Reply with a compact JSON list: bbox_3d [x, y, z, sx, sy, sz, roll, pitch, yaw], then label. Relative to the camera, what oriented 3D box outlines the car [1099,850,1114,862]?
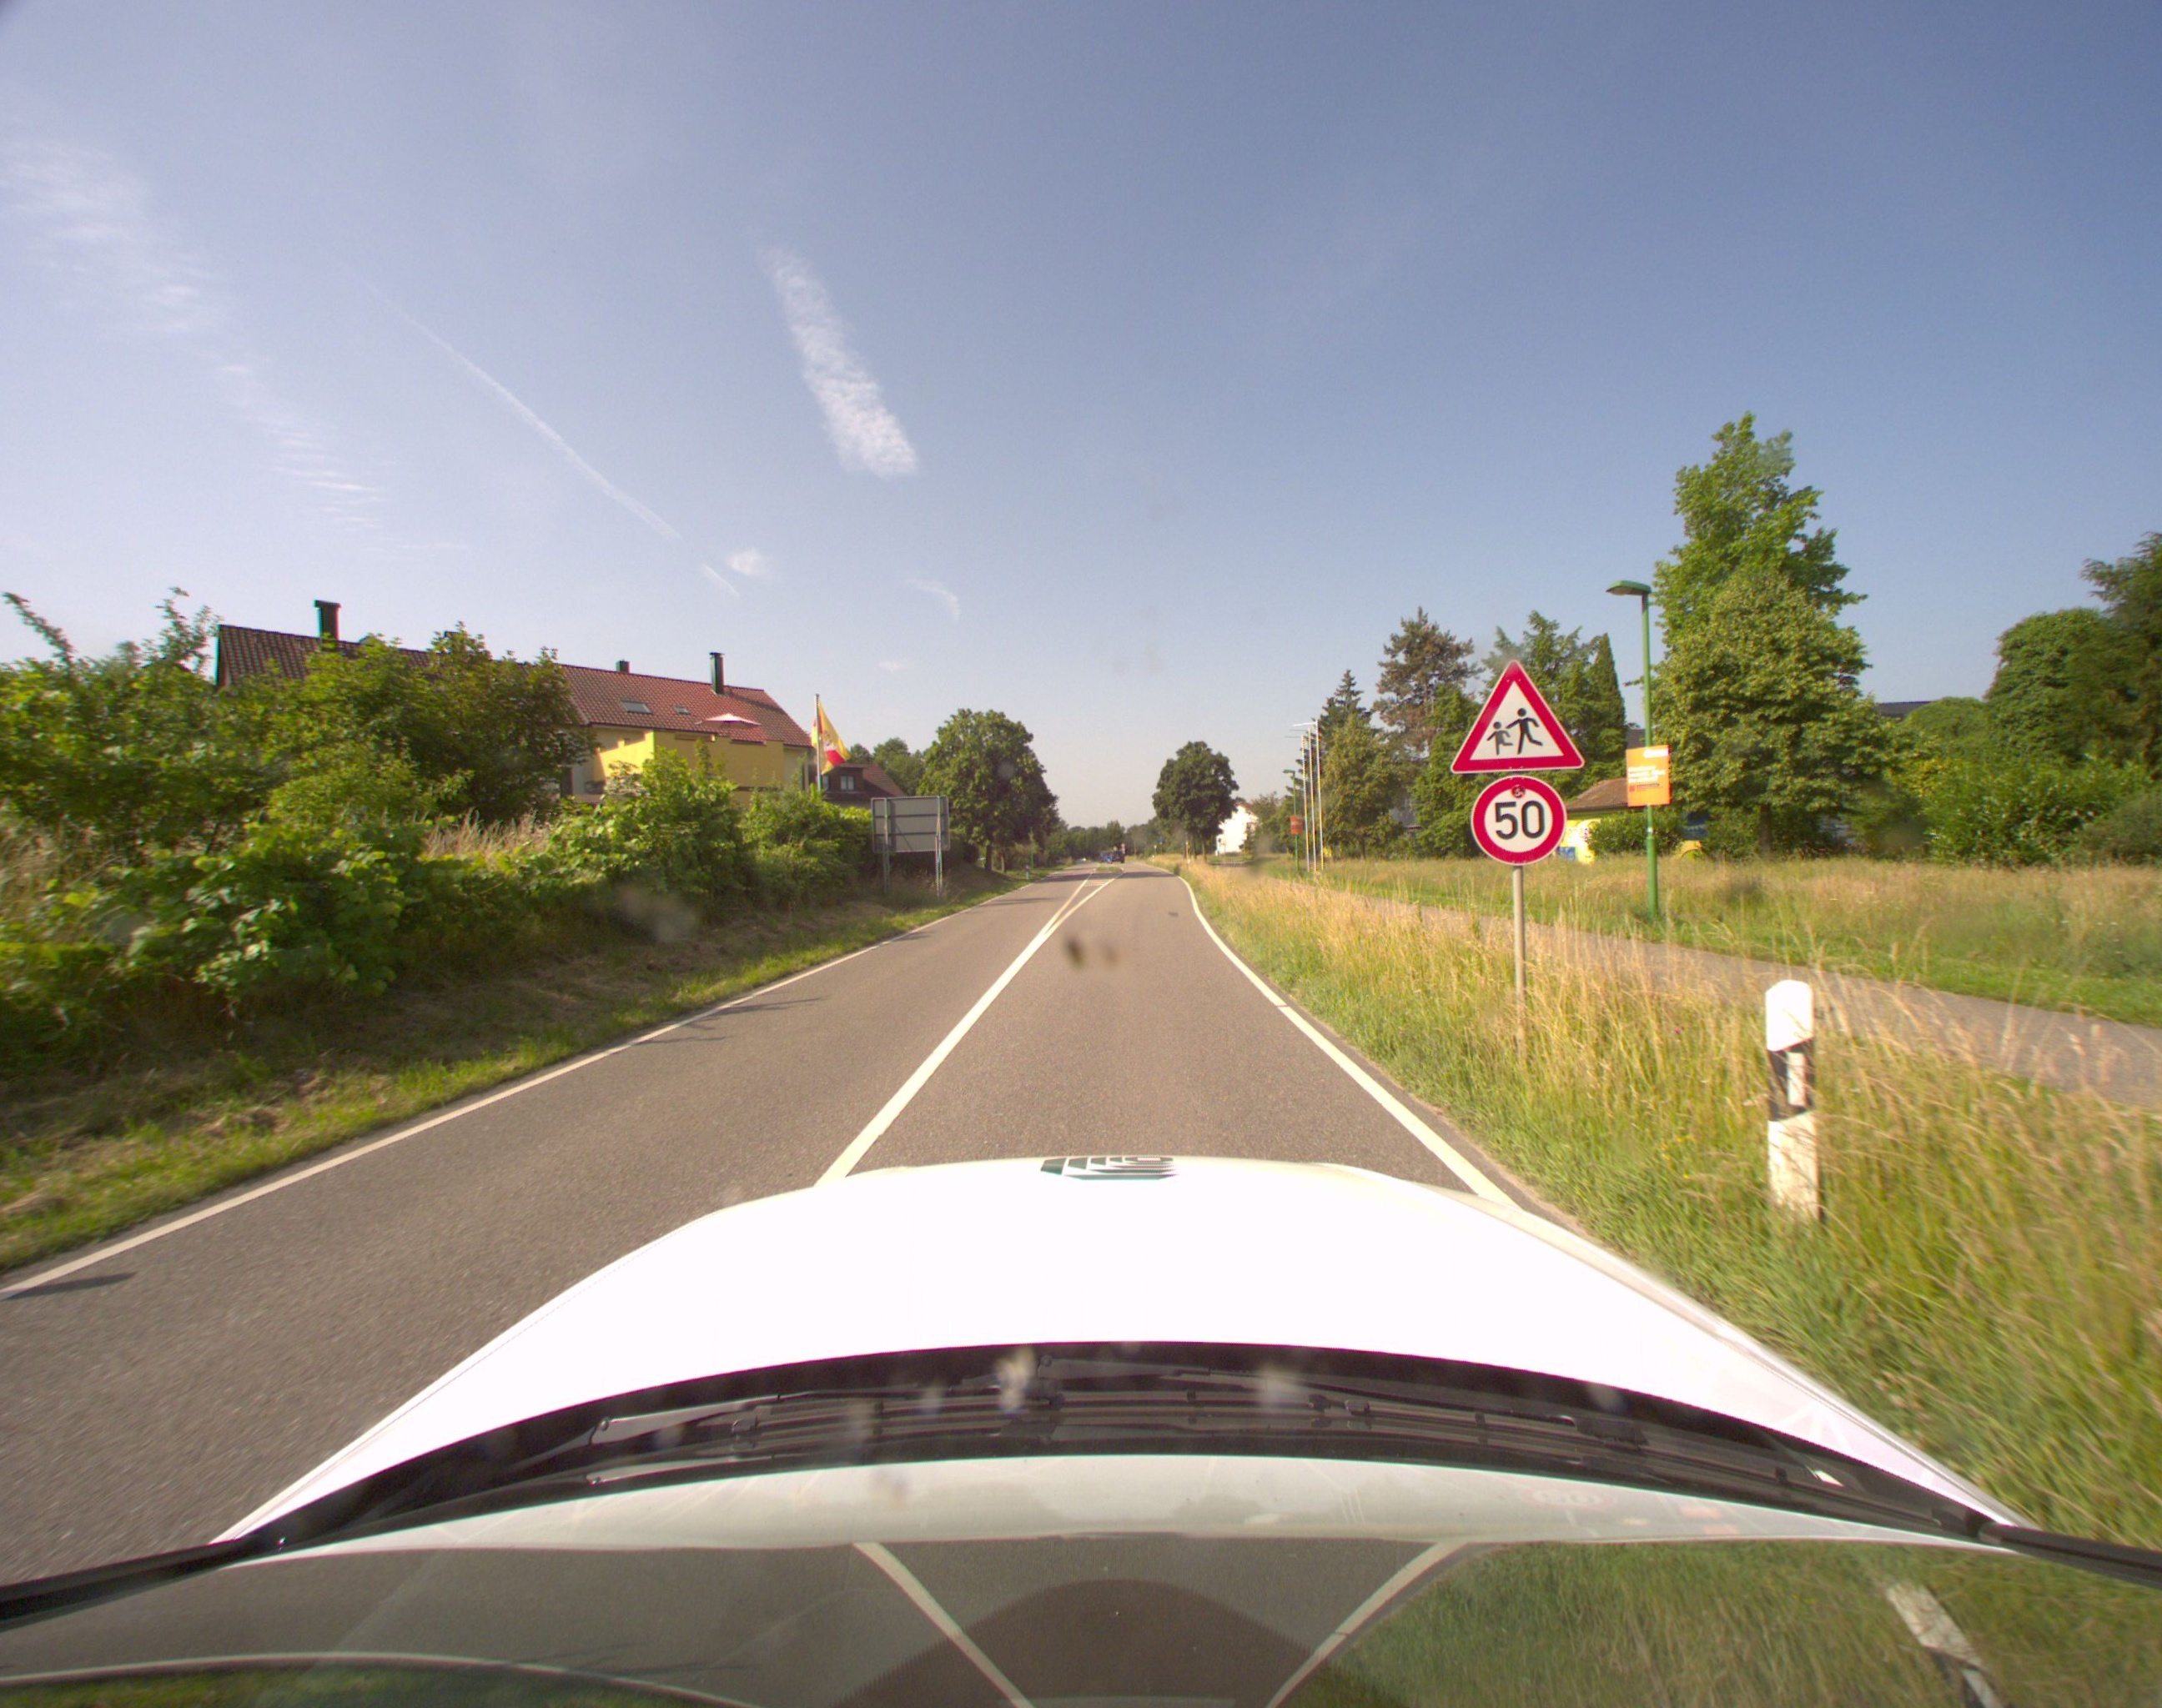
[{"bbox_3d":[3.979,0.226,126.763,1.999,1.771,3.997,-2,0,-2],"label":"car"}]

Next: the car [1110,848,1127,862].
[{"bbox_3d":[4.802,0.092,105.476,1.919,1.771,3.999,-2,0,0],"label":"car"}]
